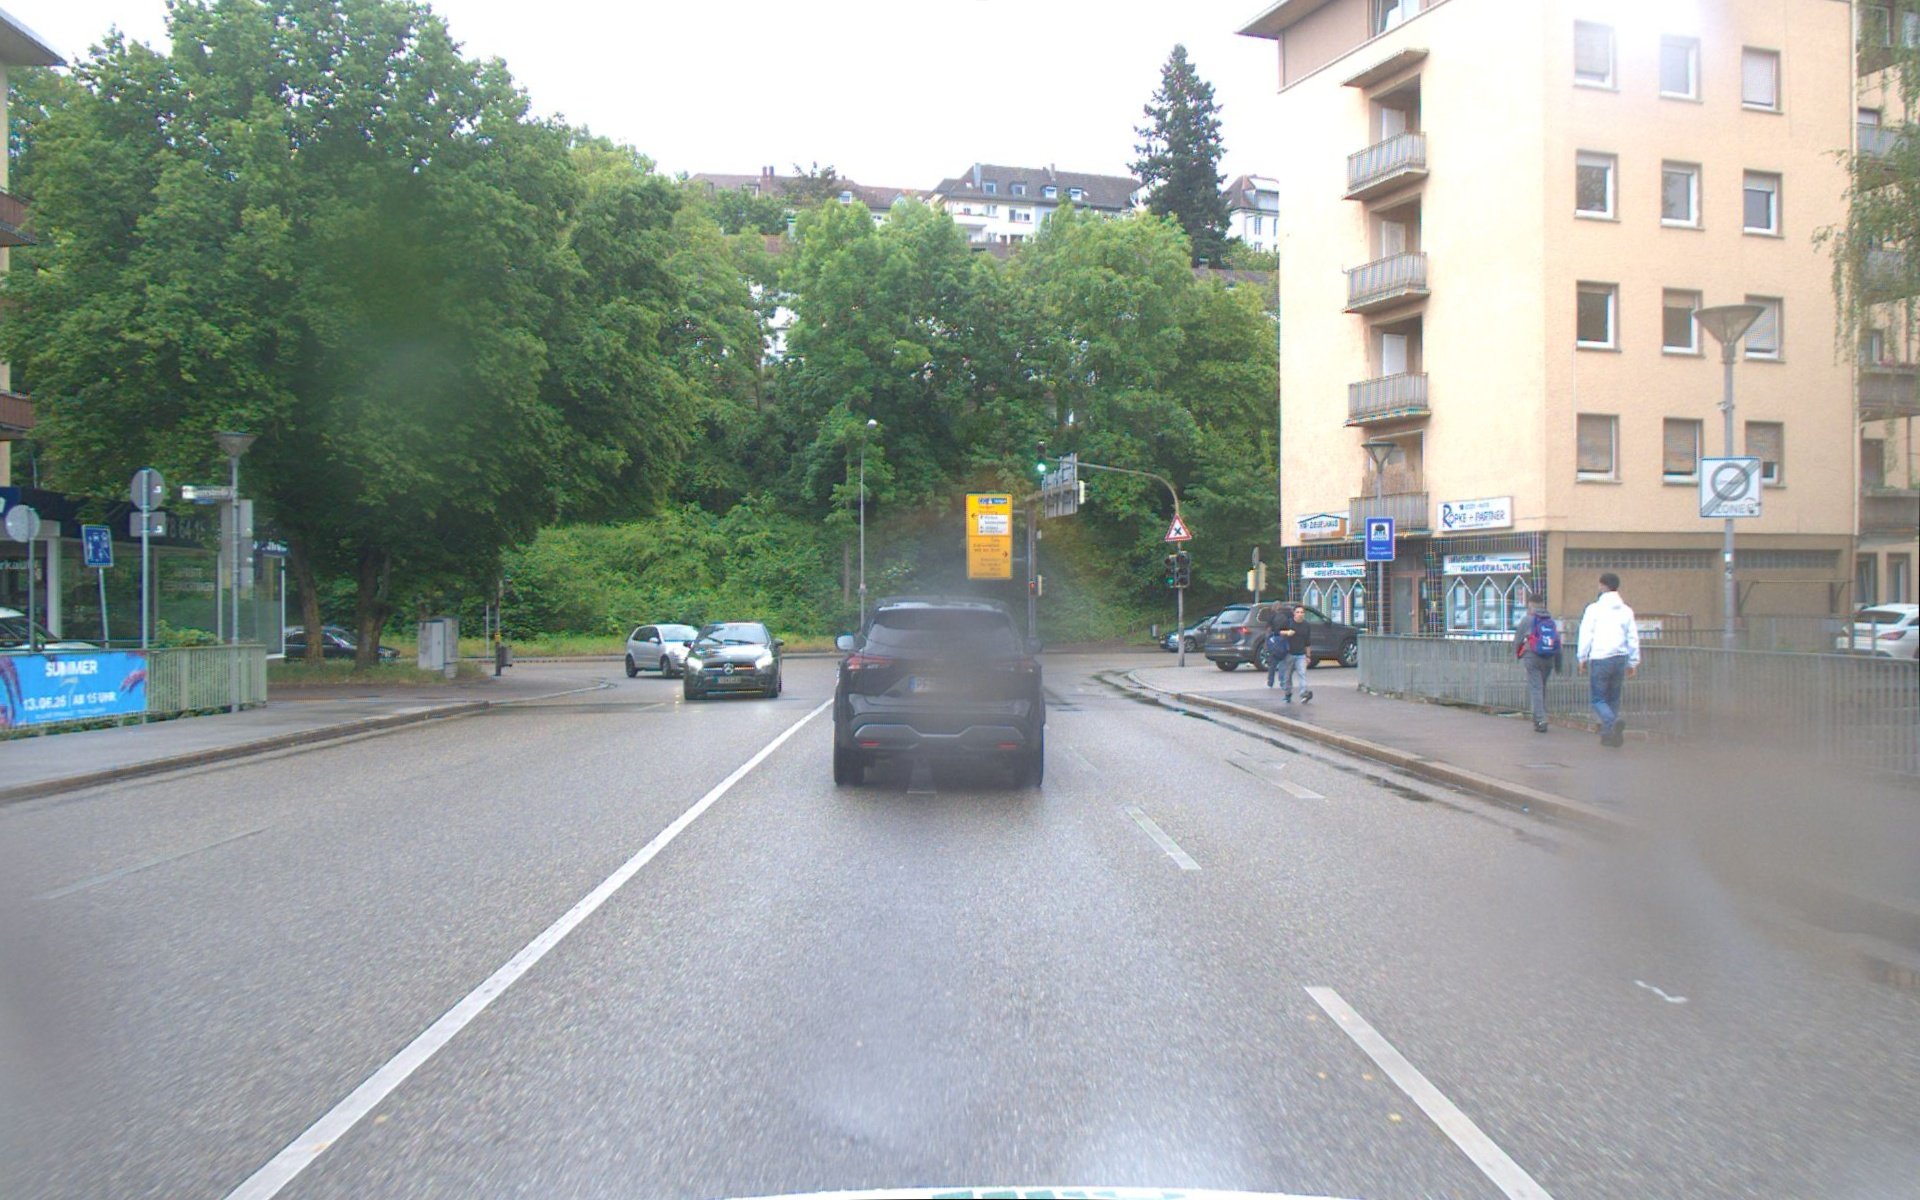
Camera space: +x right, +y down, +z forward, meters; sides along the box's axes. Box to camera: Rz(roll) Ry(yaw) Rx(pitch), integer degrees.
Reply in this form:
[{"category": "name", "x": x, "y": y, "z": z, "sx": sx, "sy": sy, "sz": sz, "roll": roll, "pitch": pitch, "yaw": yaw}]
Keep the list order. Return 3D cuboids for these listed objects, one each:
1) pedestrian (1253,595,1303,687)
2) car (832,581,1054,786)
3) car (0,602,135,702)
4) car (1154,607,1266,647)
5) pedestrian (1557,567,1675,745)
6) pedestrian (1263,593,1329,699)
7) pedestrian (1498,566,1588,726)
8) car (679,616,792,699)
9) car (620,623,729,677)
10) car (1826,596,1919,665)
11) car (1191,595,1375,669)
[{"category": "pedestrian", "x": 6.137, "y": 0.781, "z": 31.926, "sx": 0.745, "sy": 1.706, "sz": 0.781, "roll": -2, "pitch": 0, "yaw": -1}, {"category": "car", "x": -0.177, "y": 0.702, "z": 15.235, "sx": 1.774, "sy": 1.631, "sz": 3.999, "roll": 0, "pitch": -1, "yaw": -1}, {"category": "car", "x": -19.355, "y": 1.025, "z": 33.128, "sx": 4.655, "sy": 1.886, "sz": 1.996, "roll": 0, "pitch": 1, "yaw": -10}, {"category": "car", "x": 10.544, "y": 1.120, "z": 69.896, "sx": 4.249, "sy": 1.528, "sz": 1.877, "roll": -2, "pitch": -1, "yaw": -13}, {"category": "pedestrian", "x": 6.795, "y": 0.563, "z": 17.173, "sx": 0.764, "sy": 1.783, "sz": 1.060, "roll": -1, "pitch": -1, "yaw": -2}, {"category": "pedestrian", "x": 5.397, "y": 0.733, "z": 26.593, "sx": 0.845, "sy": 1.647, "sz": 0.839, "roll": -1, "pitch": -1, "yaw": -1}, {"category": "pedestrian", "x": 6.901, "y": 0.536, "z": 19.620, "sx": 0.745, "sy": 1.840, "sz": 0.781, "roll": -1, "pitch": 0, "yaw": -1}, {"category": "car", "x": -4.287, "y": 1.066, "z": 32.082, "sx": 1.675, "sy": 1.441, "sz": 4.093, "roll": -2, "pitch": 0, "yaw": -1}, {"category": "car", "x": -8.114, "y": 1.399, "z": 46.836, "sx": 1.613, "sy": 1.444, "sz": 3.638, "roll": 0, "pitch": -1, "yaw": -36}, {"category": "car", "x": 21.794, "y": 0.638, "z": 36.977, "sx": 4.370, "sy": 1.400, "sz": 1.808, "roll": -1, "pitch": 2, "yaw": -18}, {"category": "car", "x": 8.113, "y": 0.777, "z": 41.513, "sx": 4.315, "sy": 1.678, "sz": 1.867, "roll": -2, "pitch": -1, "yaw": -27}]
